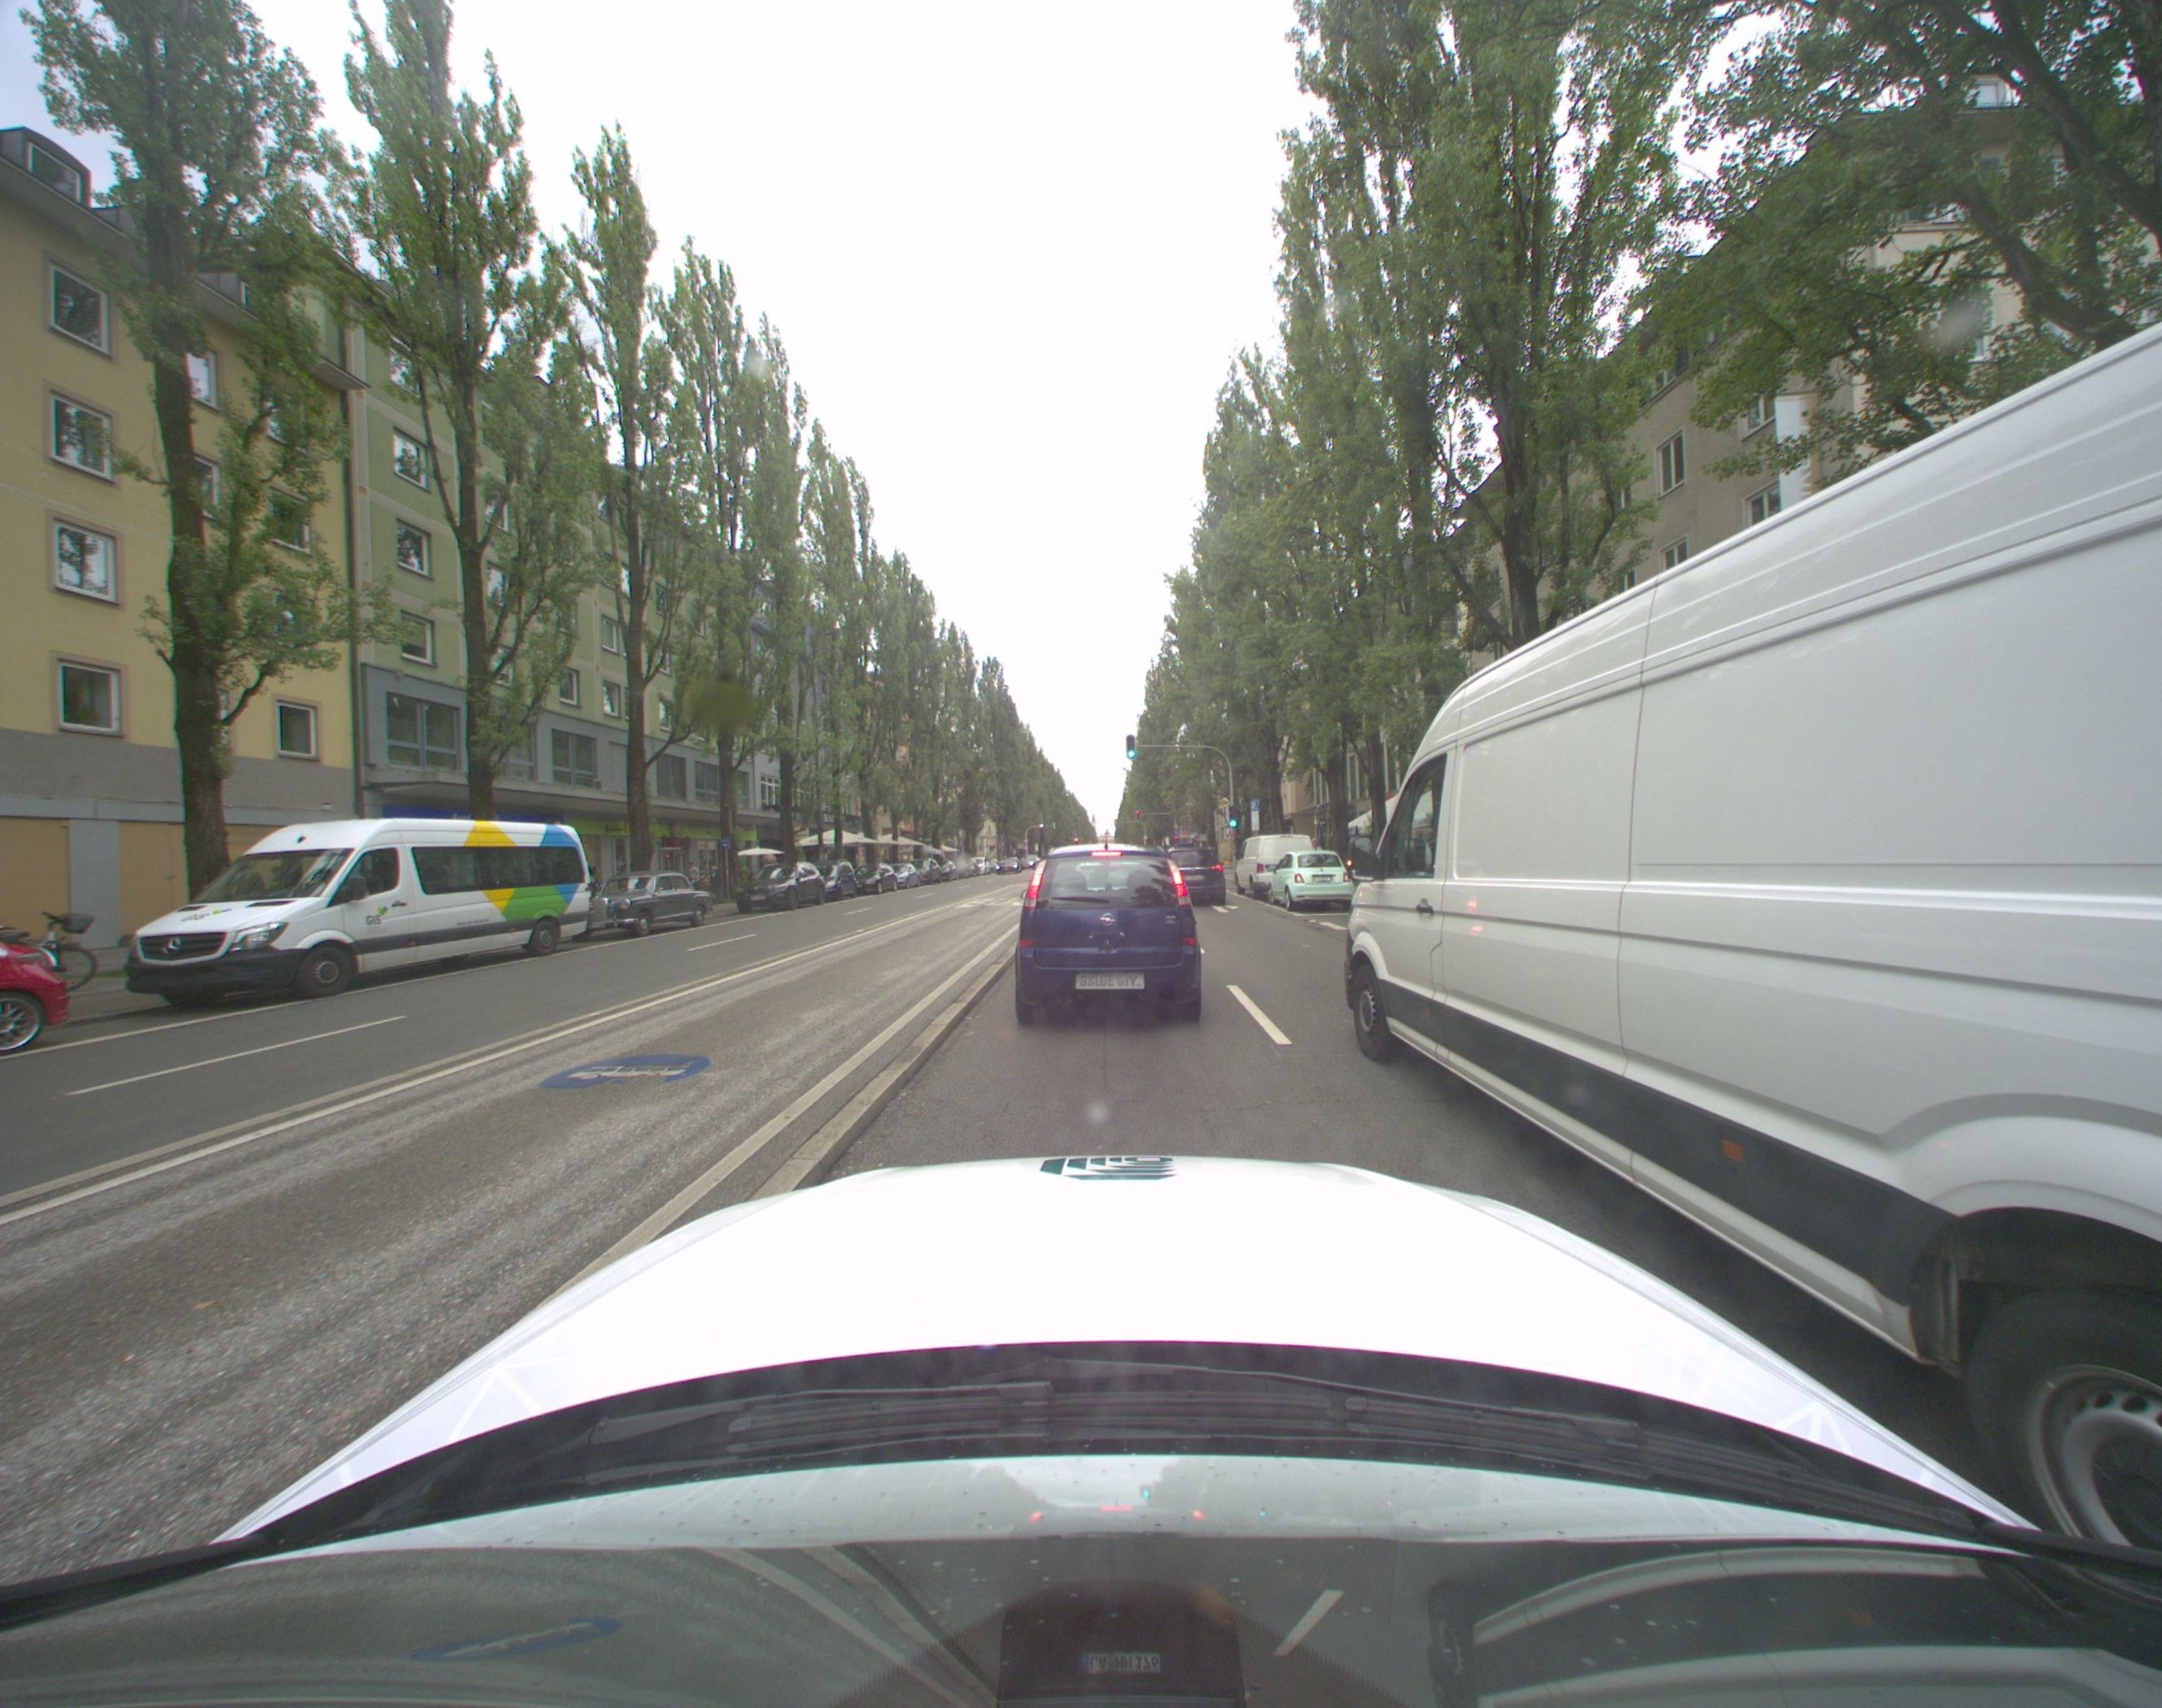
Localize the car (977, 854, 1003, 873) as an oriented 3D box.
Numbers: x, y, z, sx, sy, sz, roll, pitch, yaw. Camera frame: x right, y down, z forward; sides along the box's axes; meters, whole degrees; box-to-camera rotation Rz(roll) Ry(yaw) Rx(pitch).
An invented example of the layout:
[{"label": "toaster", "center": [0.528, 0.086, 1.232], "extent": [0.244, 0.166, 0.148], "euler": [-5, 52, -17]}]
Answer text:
[{"label": "car", "center": [-8.953, 0.922, 80.283], "extent": [1.859, 1.665, 4.122], "euler": [-4, 0, 2]}]

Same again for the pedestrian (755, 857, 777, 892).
[{"label": "pedestrian", "center": [-15.780, 1.027, 40.775], "extent": [0.753, 1.686, 0.675], "euler": [-3, -1, 3]}]

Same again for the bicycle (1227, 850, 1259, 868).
[{"label": "bicycle", "center": [11.993, 0.382, 60.412], "extent": [2.220, 1.204, 0.626], "euler": [-3, 0, -1]}]

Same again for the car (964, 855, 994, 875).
[{"label": "car", "center": [-9.106, 0.951, 73.006], "extent": [1.859, 1.665, 4.122], "euler": [-4, 0, 2]}]

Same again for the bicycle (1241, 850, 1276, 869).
[{"label": "bicycle", "center": [12.209, 0.368, 56.112], "extent": [2.220, 1.204, 0.626], "euler": [-3, 0, -1]}]

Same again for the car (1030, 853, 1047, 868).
[{"label": "car", "center": [-5.289, 0.783, 101.485], "extent": [1.764, 1.635, 4.456], "euler": [-3, 0, 1]}]

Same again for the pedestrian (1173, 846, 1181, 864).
[{"label": "pedestrian", "center": [9.616, 0.095, 81.726], "extent": [0.636, 1.827, 0.885], "euler": [0, -1, -8]}]

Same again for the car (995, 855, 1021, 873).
[{"label": "car", "center": [-6.553, 0.901, 73.170], "extent": [1.691, 1.462, 4.715], "euler": [-4, 0, 2]}]

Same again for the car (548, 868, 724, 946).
[{"label": "car", "center": [-11.082, 1.239, 20.721], "extent": [1.859, 1.552, 4.416], "euler": [-4, 0, 2]}]

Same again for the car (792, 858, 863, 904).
[{"label": "car", "center": [-10.638, 1.092, 34.444], "extent": [1.704, 1.721, 3.920], "euler": [-4, 0, -1]}]

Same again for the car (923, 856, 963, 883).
[{"label": "car", "center": [-9.660, 1.069, 57.158], "extent": [1.859, 1.665, 4.122], "euler": [-4, 0, 2]}]

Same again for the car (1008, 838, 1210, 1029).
[{"label": "car", "center": [0.307, 0.663, 8.832], "extent": [1.665, 1.568, 4.002], "euler": [-1, 0, 2]}]

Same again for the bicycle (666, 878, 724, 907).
[{"label": "bicycle", "center": [-15.139, 1.495, 31.980], "extent": [1.943, 1.095, 0.718], "euler": [0, 0, -5]}]

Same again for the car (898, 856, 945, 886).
[{"label": "car", "center": [-9.896, 1.011, 50.843], "extent": [1.859, 1.665, 4.402], "euler": [-4, 0, 2]}]

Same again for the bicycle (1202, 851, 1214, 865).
[{"label": "bicycle", "center": [11.973, 0.368, 76.723], "extent": [0.769, 1.349, 2.450], "euler": [-2, 0, 1]}]

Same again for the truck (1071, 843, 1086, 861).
[{"label": "truck", "center": [-0.476, -0.347, 156.473], "extent": [2.374, 3.346, 7.114], "euler": [-2, 0, 2]}]

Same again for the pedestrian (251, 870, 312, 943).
[{"label": "pedestrian", "center": [-19.466, 1.255, 19.838], "extent": [0.694, 1.700, 0.728], "euler": [-3, 0, 6]}]

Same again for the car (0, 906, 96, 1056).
[{"label": "car", "center": [-11.485, 1.327, 6.627], "extent": [1.731, 1.419, 4.150], "euler": [-4, 0, 2]}]

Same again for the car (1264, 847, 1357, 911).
[{"label": "car", "center": [5.872, 0.594, 21.202], "extent": [1.535, 1.492, 3.525], "euler": [-1, 0, 2]}]

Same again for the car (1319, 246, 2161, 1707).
[{"label": "car", "center": [2.940, 0.199, 3.518], "extent": [2.055, 2.492, 6.734], "euler": [-1, 0, 2]}]

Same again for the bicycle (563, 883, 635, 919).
[{"label": "bicycle", "center": [-15.198, 1.479, 25.677], "extent": [1.860, 1.095, 0.720], "euler": [0, 0, 4]}]

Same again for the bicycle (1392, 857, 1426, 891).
[{"label": "bicycle", "center": [9.915, 0.598, 24.662], "extent": [0.348, 0.996, 1.453], "euler": [-4, -1, -2]}]

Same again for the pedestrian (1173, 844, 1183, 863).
[{"label": "pedestrian", "center": [9.240, -0.017, 77.540], "extent": [0.719, 1.827, 0.885], "euler": [0, -1, -8]}]

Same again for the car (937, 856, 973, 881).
[{"label": "car", "center": [-9.568, 1.064, 62.220], "extent": [1.859, 1.665, 4.122], "euler": [-4, 0, 2]}]

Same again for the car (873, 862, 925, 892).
[{"label": "car", "center": [-10.050, 1.222, 45.316], "extent": [1.727, 1.425, 4.145], "euler": [-4, 0, 2]}]

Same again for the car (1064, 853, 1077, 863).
[{"label": "car", "center": [-1.600, 0.664, 127.104], "extent": [1.728, 1.465, 3.367], "euler": [-2, 0, 2]}]

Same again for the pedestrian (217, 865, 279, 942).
[{"label": "pedestrian", "center": [-20.315, 1.197, 19.863], "extent": [0.694, 1.795, 0.728], "euler": [-3, 0, 6]}]

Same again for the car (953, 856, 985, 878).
[{"label": "car", "center": [-9.285, 1.045, 67.745], "extent": [1.859, 1.665, 4.122], "euler": [-4, 0, 2]}]

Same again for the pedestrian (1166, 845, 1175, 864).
[{"label": "pedestrian", "center": [8.525, 0.033, 77.424], "extent": [0.636, 1.827, 0.885], "euler": [0, -1, -8]}]

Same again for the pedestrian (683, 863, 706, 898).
[{"label": "pedestrian", "center": [-18.875, 1.281, 39.777], "extent": [0.753, 1.686, 0.675], "euler": [-3, -1, 3]}]

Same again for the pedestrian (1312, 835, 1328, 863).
[{"label": "pedestrian", "center": [14.872, -0.295, 50.714], "extent": [0.671, 1.686, 0.758], "euler": [-3, -1, -3]}]

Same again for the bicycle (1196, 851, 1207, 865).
[{"label": "bicycle", "center": [12.297, 0.417, 82.959], "extent": [0.769, 1.349, 2.450], "euler": [-2, 0, 1]}]

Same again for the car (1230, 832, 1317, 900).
[{"label": "car", "center": [6.076, 0.347, 26.260], "extent": [1.781, 1.946, 4.732], "euler": [-2, 0, 2]}]

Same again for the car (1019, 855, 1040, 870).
[{"label": "car", "center": [-5.567, 0.921, 88.206], "extent": [1.739, 1.434, 4.131], "euler": [-4, 0, 2]}]

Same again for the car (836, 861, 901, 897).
[{"label": "car", "center": [-10.268, 1.178, 39.674], "extent": [1.792, 1.488, 4.352], "euler": [-4, 0, 2]}]

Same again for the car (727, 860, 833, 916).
[{"label": "car", "center": [-10.599, 1.144, 29.067], "extent": [1.859, 1.664, 4.613], "euler": [-4, 0, 2]}]

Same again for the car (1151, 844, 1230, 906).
[{"label": "car", "center": [3.133, 0.566, 23.988], "extent": [1.889, 1.622, 4.002], "euler": [-1, 0, 2]}]

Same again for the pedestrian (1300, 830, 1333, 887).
[{"label": "pedestrian", "center": [7.636, 0.140, 26.443], "extent": [0.823, 1.773, 0.872], "euler": [-2, 0, 6]}]

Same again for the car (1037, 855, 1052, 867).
[{"label": "car", "center": [-5.432, 1.054, 122.926], "extent": [1.859, 1.665, 4.122], "euler": [-2, 0, 2]}]

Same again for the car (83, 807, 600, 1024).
[{"label": "car", "center": [-11.243, 0.754, 13.587], "extent": [1.998, 2.567, 6.915], "euler": [-4, 0, 2]}]
